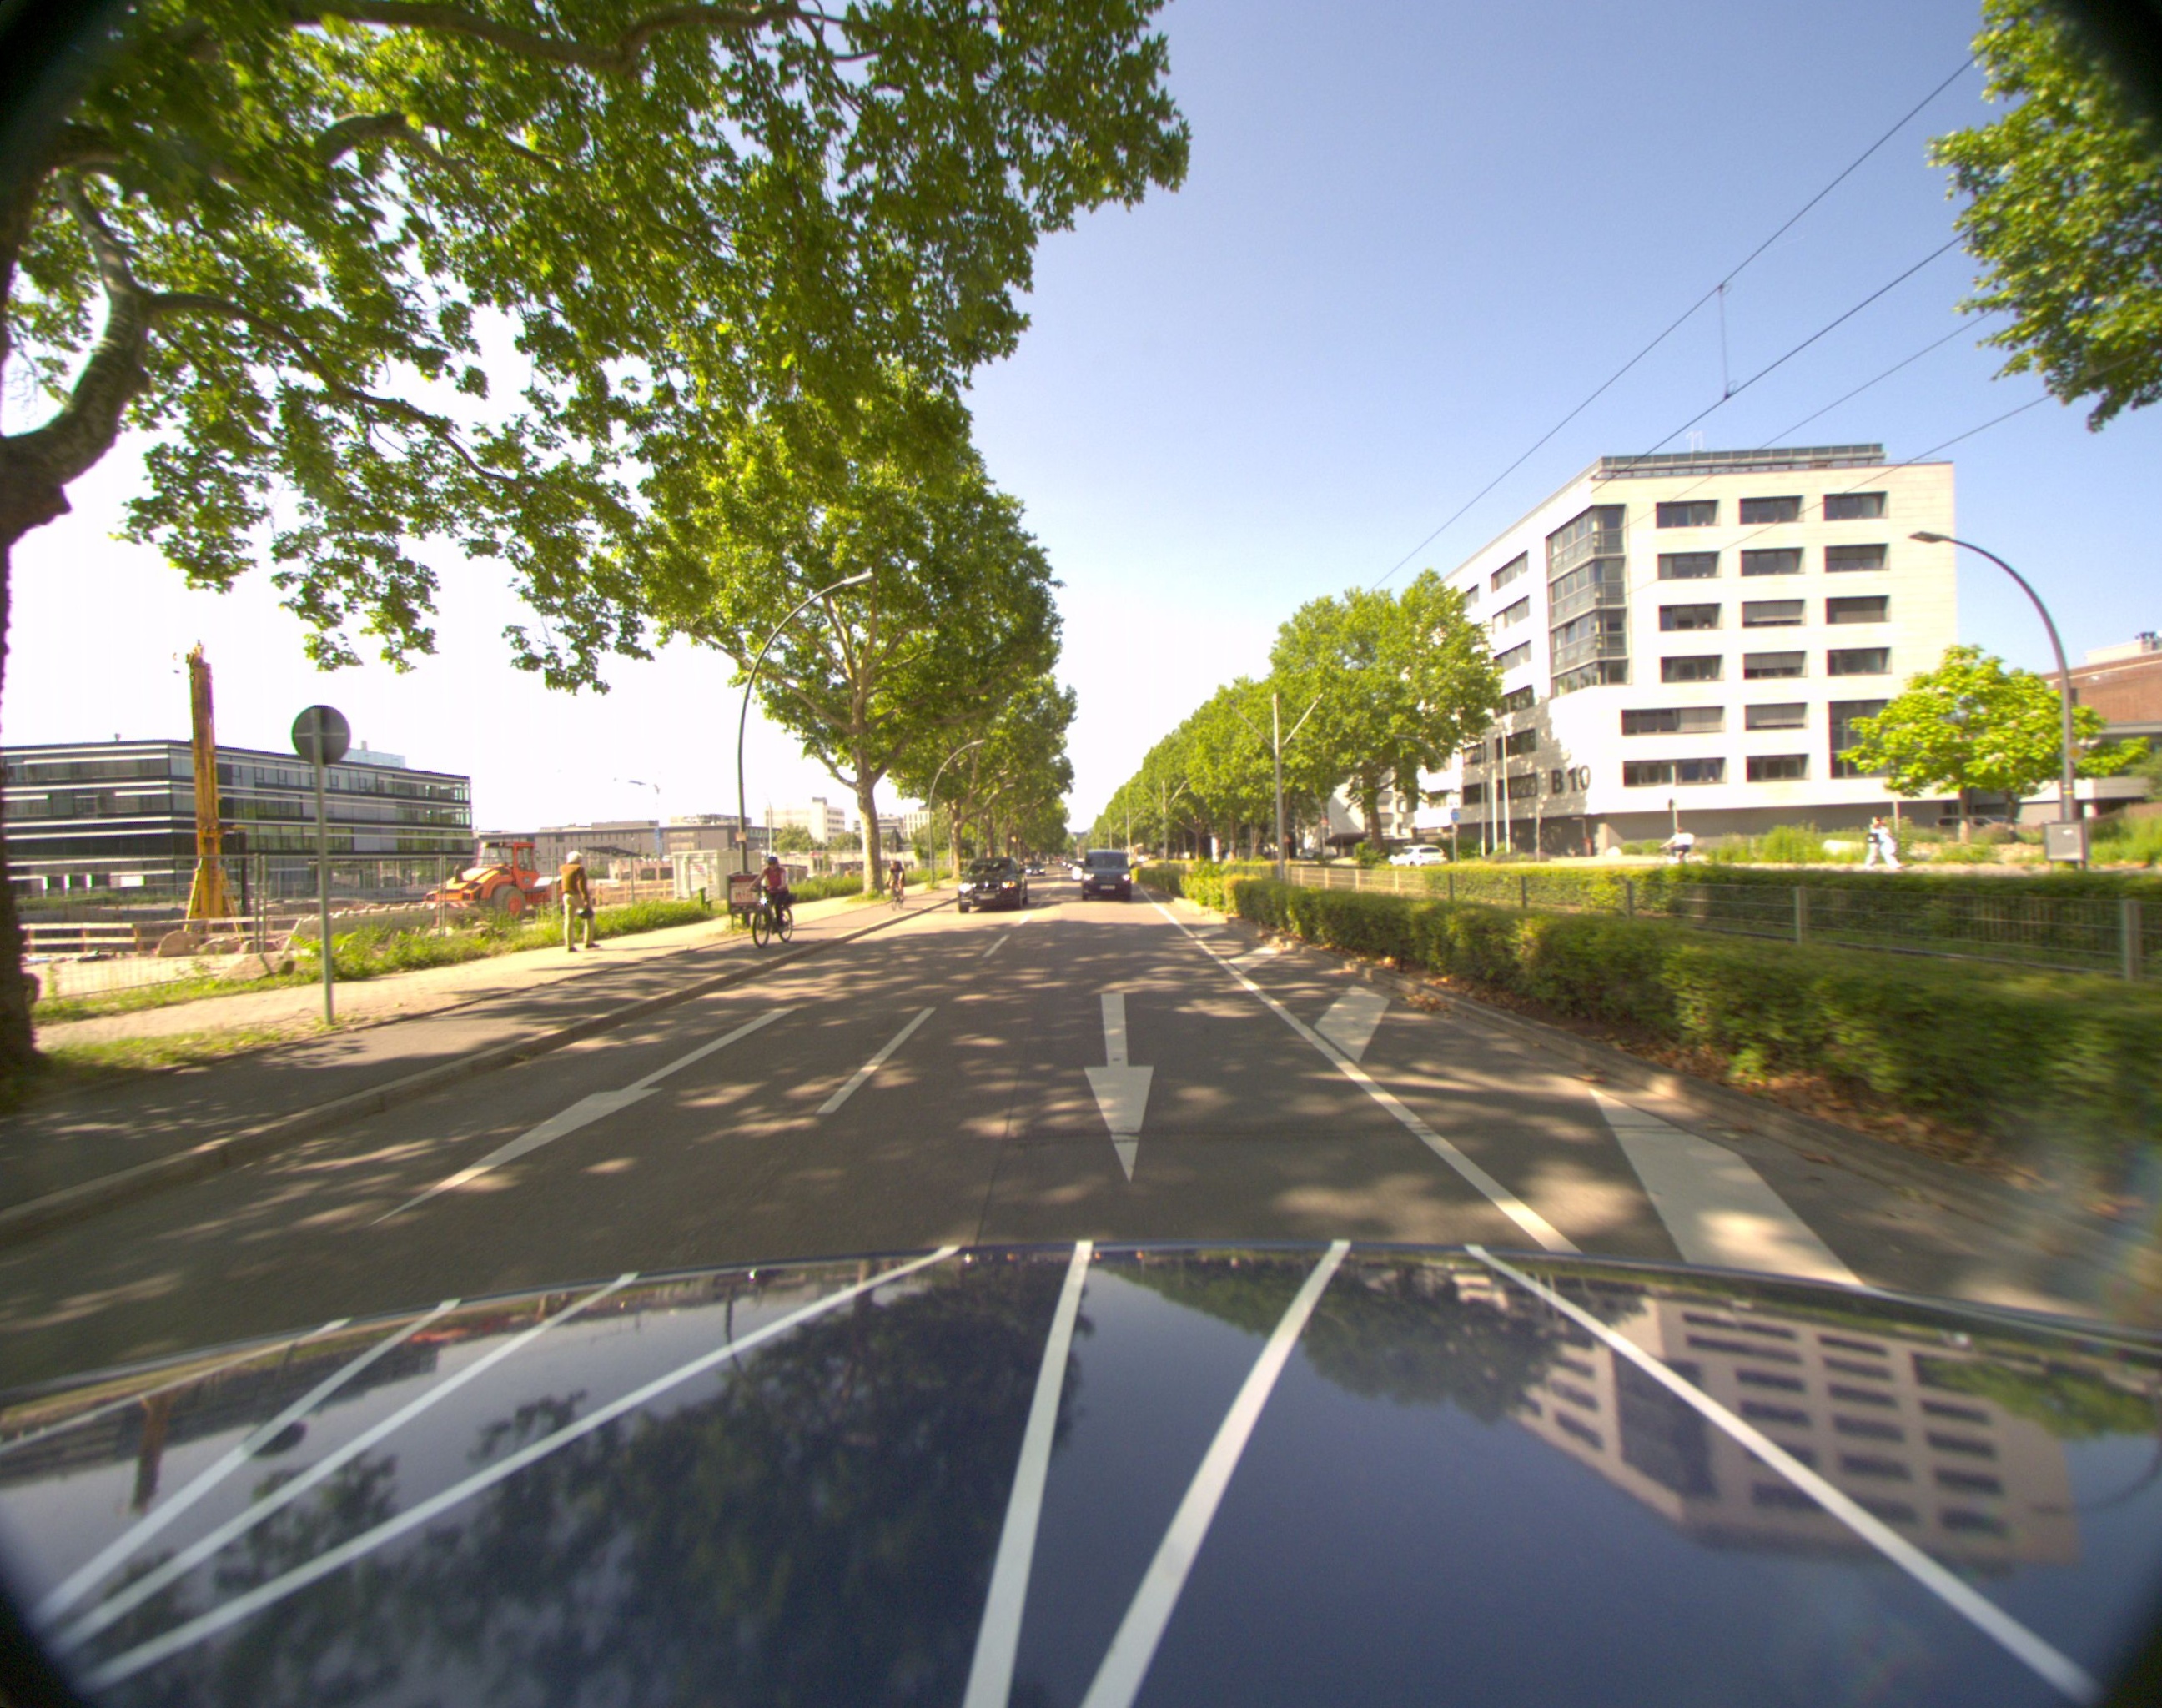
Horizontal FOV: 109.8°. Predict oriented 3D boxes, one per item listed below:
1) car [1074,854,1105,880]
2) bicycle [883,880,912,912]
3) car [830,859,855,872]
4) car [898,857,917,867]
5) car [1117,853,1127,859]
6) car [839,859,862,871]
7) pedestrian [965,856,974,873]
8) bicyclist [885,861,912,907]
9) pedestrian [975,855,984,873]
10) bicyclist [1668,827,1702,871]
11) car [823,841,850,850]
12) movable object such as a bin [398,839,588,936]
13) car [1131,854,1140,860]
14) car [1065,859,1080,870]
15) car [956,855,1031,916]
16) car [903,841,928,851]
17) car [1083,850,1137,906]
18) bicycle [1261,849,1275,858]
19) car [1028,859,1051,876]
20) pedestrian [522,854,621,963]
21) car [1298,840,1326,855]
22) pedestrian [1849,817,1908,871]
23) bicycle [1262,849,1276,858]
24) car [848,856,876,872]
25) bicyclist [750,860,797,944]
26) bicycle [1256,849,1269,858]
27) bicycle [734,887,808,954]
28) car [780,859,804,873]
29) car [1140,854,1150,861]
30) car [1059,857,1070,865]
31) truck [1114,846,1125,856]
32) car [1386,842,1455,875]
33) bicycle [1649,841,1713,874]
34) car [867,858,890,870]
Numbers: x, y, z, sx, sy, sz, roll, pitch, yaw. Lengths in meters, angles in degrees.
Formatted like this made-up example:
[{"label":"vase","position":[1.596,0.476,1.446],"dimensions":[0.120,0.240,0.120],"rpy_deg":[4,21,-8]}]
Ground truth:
[{"label":"car","position":[0.559,0.850,51.334],"dimensions":[1.924,1.543,4.151],"rpy_deg":[-3,0,0]},{"label":"bicycle","position":[-6.052,1.379,25.135],"dimensions":[0.599,0.974,1.781],"rpy_deg":[0,0,-2]},{"label":"car","position":[-45.411,2.171,144.608],"dimensions":[3.998,2.308,1.808],"rpy_deg":[-3,0,-3]},{"label":"car","position":[-40.905,1.922,179.193],"dimensions":[3.998,2.308,1.808],"rpy_deg":[-3,0,-3]},{"label":"car","position":[9.735,0.455,179.796],"dimensions":[1.861,1.445,3.999],"rpy_deg":[-3,0,-2]},{"label":"car","position":[-45.590,2.164,150.159],"dimensions":[3.998,2.308,1.808],"rpy_deg":[-3,0,-3]},{"label":"pedestrian","position":[-11.246,1.050,76.912],"dimensions":[0.697,1.673,0.959],"rpy_deg":[-3,0,-2]},{"label":"bicyclist","position":[-6.054,0.992,25.244],"dimensions":[0.600,1.481,1.214],"rpy_deg":[0,0,-2]},{"label":"pedestrian","position":[-10.284,1.002,76.916],"dimensions":[0.712,1.714,1.066],"rpy_deg":[-3,0,-2]},{"label":"bicyclist","position":[21.554,-0.178,27.112],"dimensions":[0.656,1.526,0.641],"rpy_deg":[-3,0,1]},{"label":"car","position":[-42.159,-1.458,131.129],"dimensions":[3.998,1.501,1.808],"rpy_deg":[-3,0,-3]},{"label":"movable object such as a bin","position":[-21.217,1.099,27.903],"dimensions":[2.376,3.054,5.984],"rpy_deg":[-3,0,-3]},{"label":"car","position":[14.117,0.702,197.264],"dimensions":[1.861,1.445,3.999],"rpy_deg":[-2,0,-2]},{"label":"car","position":[-1.151,1.398,102.667],"dimensions":[1.854,1.418,4.151],"rpy_deg":[-3,0,1]},{"label":"car","position":[-2.779,0.962,25.097],"dimensions":[1.924,1.720,4.151],"rpy_deg":[-3,0,0]},{"label":"car","position":[-29.168,-1.400,134.087],"dimensions":[3.998,1.501,1.808],"rpy_deg":[-3,0,-3]},{"label":"car","position":[0.982,0.803,27.432],"dimensions":[1.789,1.839,4.000],"rpy_deg":[-1,0,1]},{"label":"bicycle","position":[26.340,-0.068,106.987],"dimensions":[1.770,1.096,0.421],"rpy_deg":[-3,0,-2]},{"label":"car","position":[-3.903,1.267,71.645],"dimensions":[1.854,1.418,4.151],"rpy_deg":[-3,0,1]},{"label":"pedestrian","position":[-9.383,0.969,14.044],"dimensions":[0.941,1.881,1.151],"rpy_deg":[-3,0,0]},{"label":"car","position":[26.539,-0.703,87.296],"dimensions":[1.747,1.541,4.348],"rpy_deg":[-3,0,-2]},{"label":"pedestrian","position":[24.506,-0.302,23.369],"dimensions":[0.722,1.579,1.015],"rpy_deg":[-3,1,0]},{"label":"bicycle","position":[26.350,-0.067,106.524],"dimensions":[1.770,1.096,0.421],"rpy_deg":[-3,0,-2]},{"label":"car","position":[-39.723,1.790,137.763],"dimensions":[4.376,2.722,1.808],"rpy_deg":[-3,0,-3]},{"label":"bicyclist","position":[-6.022,0.925,14.889],"dimensions":[0.621,1.590,0.732],"rpy_deg":[-1,0,-2]},{"label":"bicycle","position":[26.123,-0.066,109.363],"dimensions":[1.770,1.096,0.421],"rpy_deg":[-3,0,-2]},{"label":"bicycle","position":[-6.025,1.268,14.875],"dimensions":[0.653,1.123,1.945],"rpy_deg":[-1,0,-1]},{"label":"car","position":[-57.440,2.388,150.887],"dimensions":[3.998,2.722,1.808],"rpy_deg":[-3,0,-3]},{"label":"car","position":[13.831,0.832,164.475],"dimensions":[1.820,1.482,3.912],"rpy_deg":[0,0,-2]},{"label":"car","position":[-3.209,1.372,144.947],"dimensions":[1.854,1.418,4.151],"rpy_deg":[-3,0,1]},{"label":"truck","position":[12.660,-0.928,248.958],"dimensions":[2.752,3.259,6.540],"rpy_deg":[-3,0,-2]},{"label":"car","position":[17.620,0.232,39.625],"dimensions":[1.761,1.560,4.018],"rpy_deg":[-3,0,0]},{"label":"bicycle","position":[21.568,0.117,27.363],"dimensions":[0.666,1.117,2.030],"rpy_deg":[-3,0,0]},{"label":"car","position":[-40.159,1.964,150.546],"dimensions":[3.998,2.308,1.808],"rpy_deg":[-3,0,-3]}]
